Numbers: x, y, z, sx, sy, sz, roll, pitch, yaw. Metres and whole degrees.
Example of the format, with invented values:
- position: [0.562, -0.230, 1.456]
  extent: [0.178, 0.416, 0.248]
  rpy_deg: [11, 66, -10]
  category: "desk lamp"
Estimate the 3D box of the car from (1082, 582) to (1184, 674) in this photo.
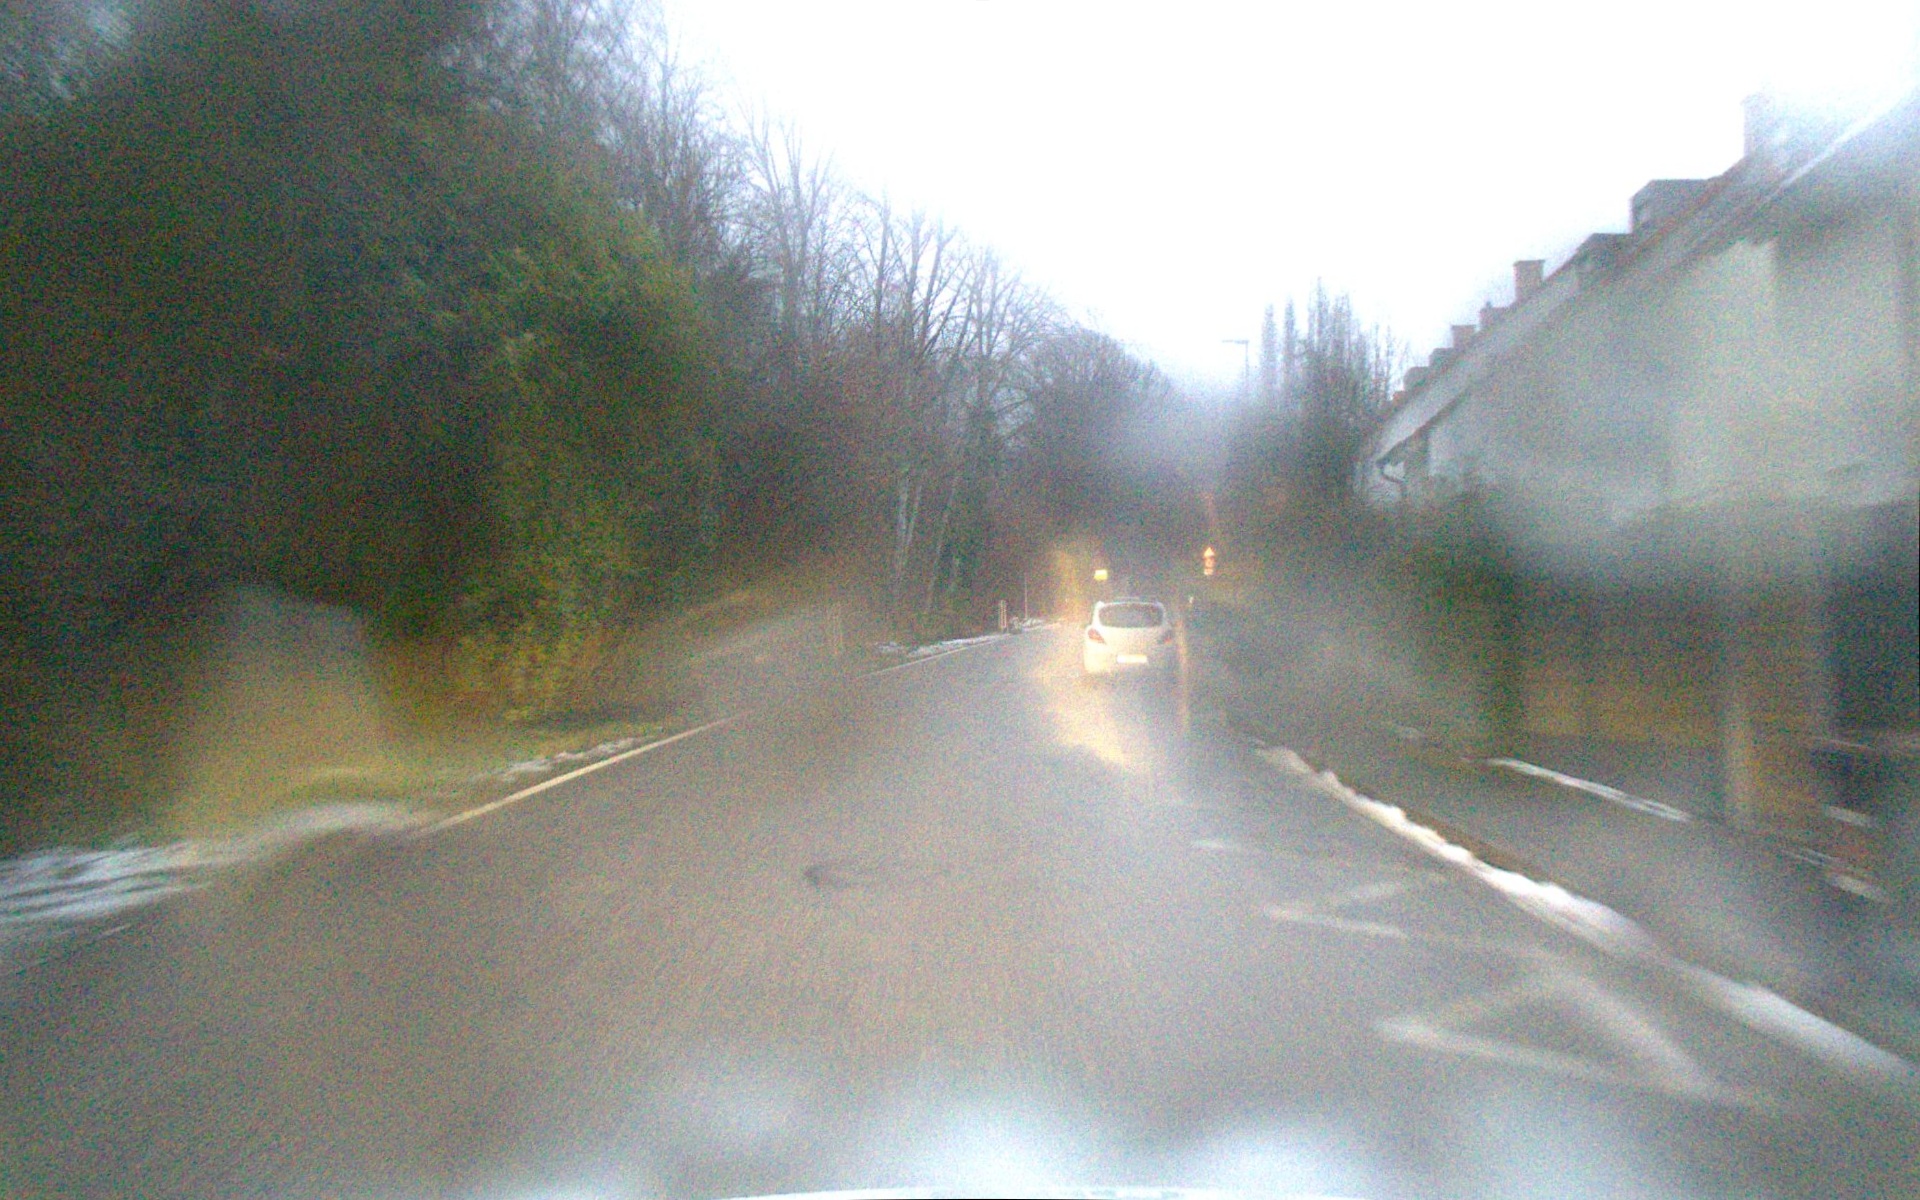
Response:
- position: [3.067, 0.482, 29.929]
  extent: [1.668, 1.532, 4.026]
  rpy_deg: [0, 0, 3]
  category: "car"

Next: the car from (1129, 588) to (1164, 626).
- position: [9.290, 0.338, 82.276]
  extent: [1.654, 1.805, 3.864]
  rpy_deg: [-1, 0, 8]
  category: "car"
